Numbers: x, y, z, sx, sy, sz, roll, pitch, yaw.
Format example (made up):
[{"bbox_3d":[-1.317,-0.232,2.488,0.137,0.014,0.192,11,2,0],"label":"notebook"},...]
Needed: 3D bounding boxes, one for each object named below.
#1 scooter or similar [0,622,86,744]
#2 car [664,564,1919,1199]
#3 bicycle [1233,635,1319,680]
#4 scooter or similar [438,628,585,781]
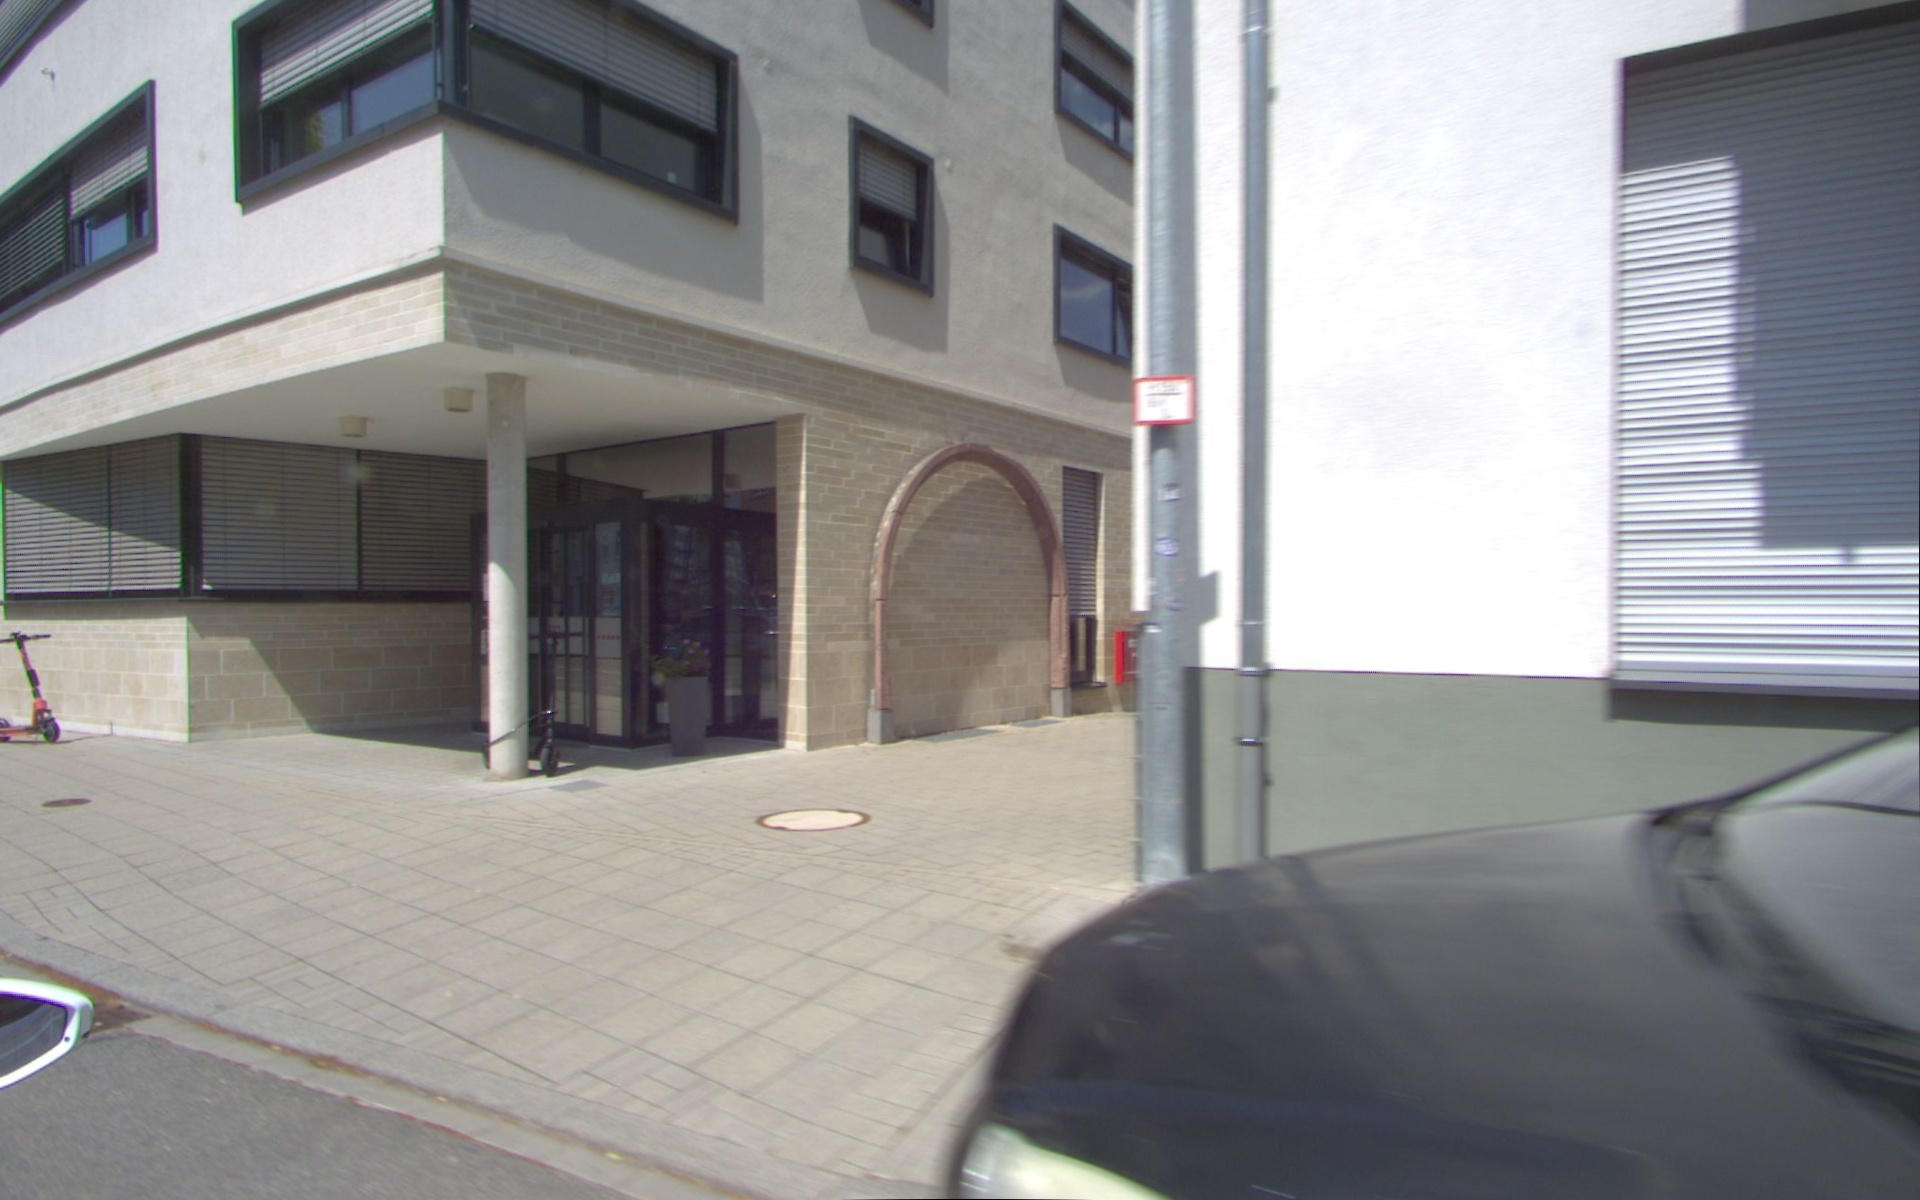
[{"bbox_3d":[-10.514,0.893,11.227,1.346,1.278,0.581,0,2,28],"label":"scooter or similar"},{"bbox_3d":[2.096,0.727,0.989,4.474,1.530,1.798,-1,3,25],"label":"car"},{"bbox_3d":[7.406,1.336,23.513,0.689,0.979,1.848,0,-1,-43],"label":"bicycle"},{"bbox_3d":[-3.877,0.868,8.638,1.293,1.227,0.422,0,0,26],"label":"scooter or similar"}]
